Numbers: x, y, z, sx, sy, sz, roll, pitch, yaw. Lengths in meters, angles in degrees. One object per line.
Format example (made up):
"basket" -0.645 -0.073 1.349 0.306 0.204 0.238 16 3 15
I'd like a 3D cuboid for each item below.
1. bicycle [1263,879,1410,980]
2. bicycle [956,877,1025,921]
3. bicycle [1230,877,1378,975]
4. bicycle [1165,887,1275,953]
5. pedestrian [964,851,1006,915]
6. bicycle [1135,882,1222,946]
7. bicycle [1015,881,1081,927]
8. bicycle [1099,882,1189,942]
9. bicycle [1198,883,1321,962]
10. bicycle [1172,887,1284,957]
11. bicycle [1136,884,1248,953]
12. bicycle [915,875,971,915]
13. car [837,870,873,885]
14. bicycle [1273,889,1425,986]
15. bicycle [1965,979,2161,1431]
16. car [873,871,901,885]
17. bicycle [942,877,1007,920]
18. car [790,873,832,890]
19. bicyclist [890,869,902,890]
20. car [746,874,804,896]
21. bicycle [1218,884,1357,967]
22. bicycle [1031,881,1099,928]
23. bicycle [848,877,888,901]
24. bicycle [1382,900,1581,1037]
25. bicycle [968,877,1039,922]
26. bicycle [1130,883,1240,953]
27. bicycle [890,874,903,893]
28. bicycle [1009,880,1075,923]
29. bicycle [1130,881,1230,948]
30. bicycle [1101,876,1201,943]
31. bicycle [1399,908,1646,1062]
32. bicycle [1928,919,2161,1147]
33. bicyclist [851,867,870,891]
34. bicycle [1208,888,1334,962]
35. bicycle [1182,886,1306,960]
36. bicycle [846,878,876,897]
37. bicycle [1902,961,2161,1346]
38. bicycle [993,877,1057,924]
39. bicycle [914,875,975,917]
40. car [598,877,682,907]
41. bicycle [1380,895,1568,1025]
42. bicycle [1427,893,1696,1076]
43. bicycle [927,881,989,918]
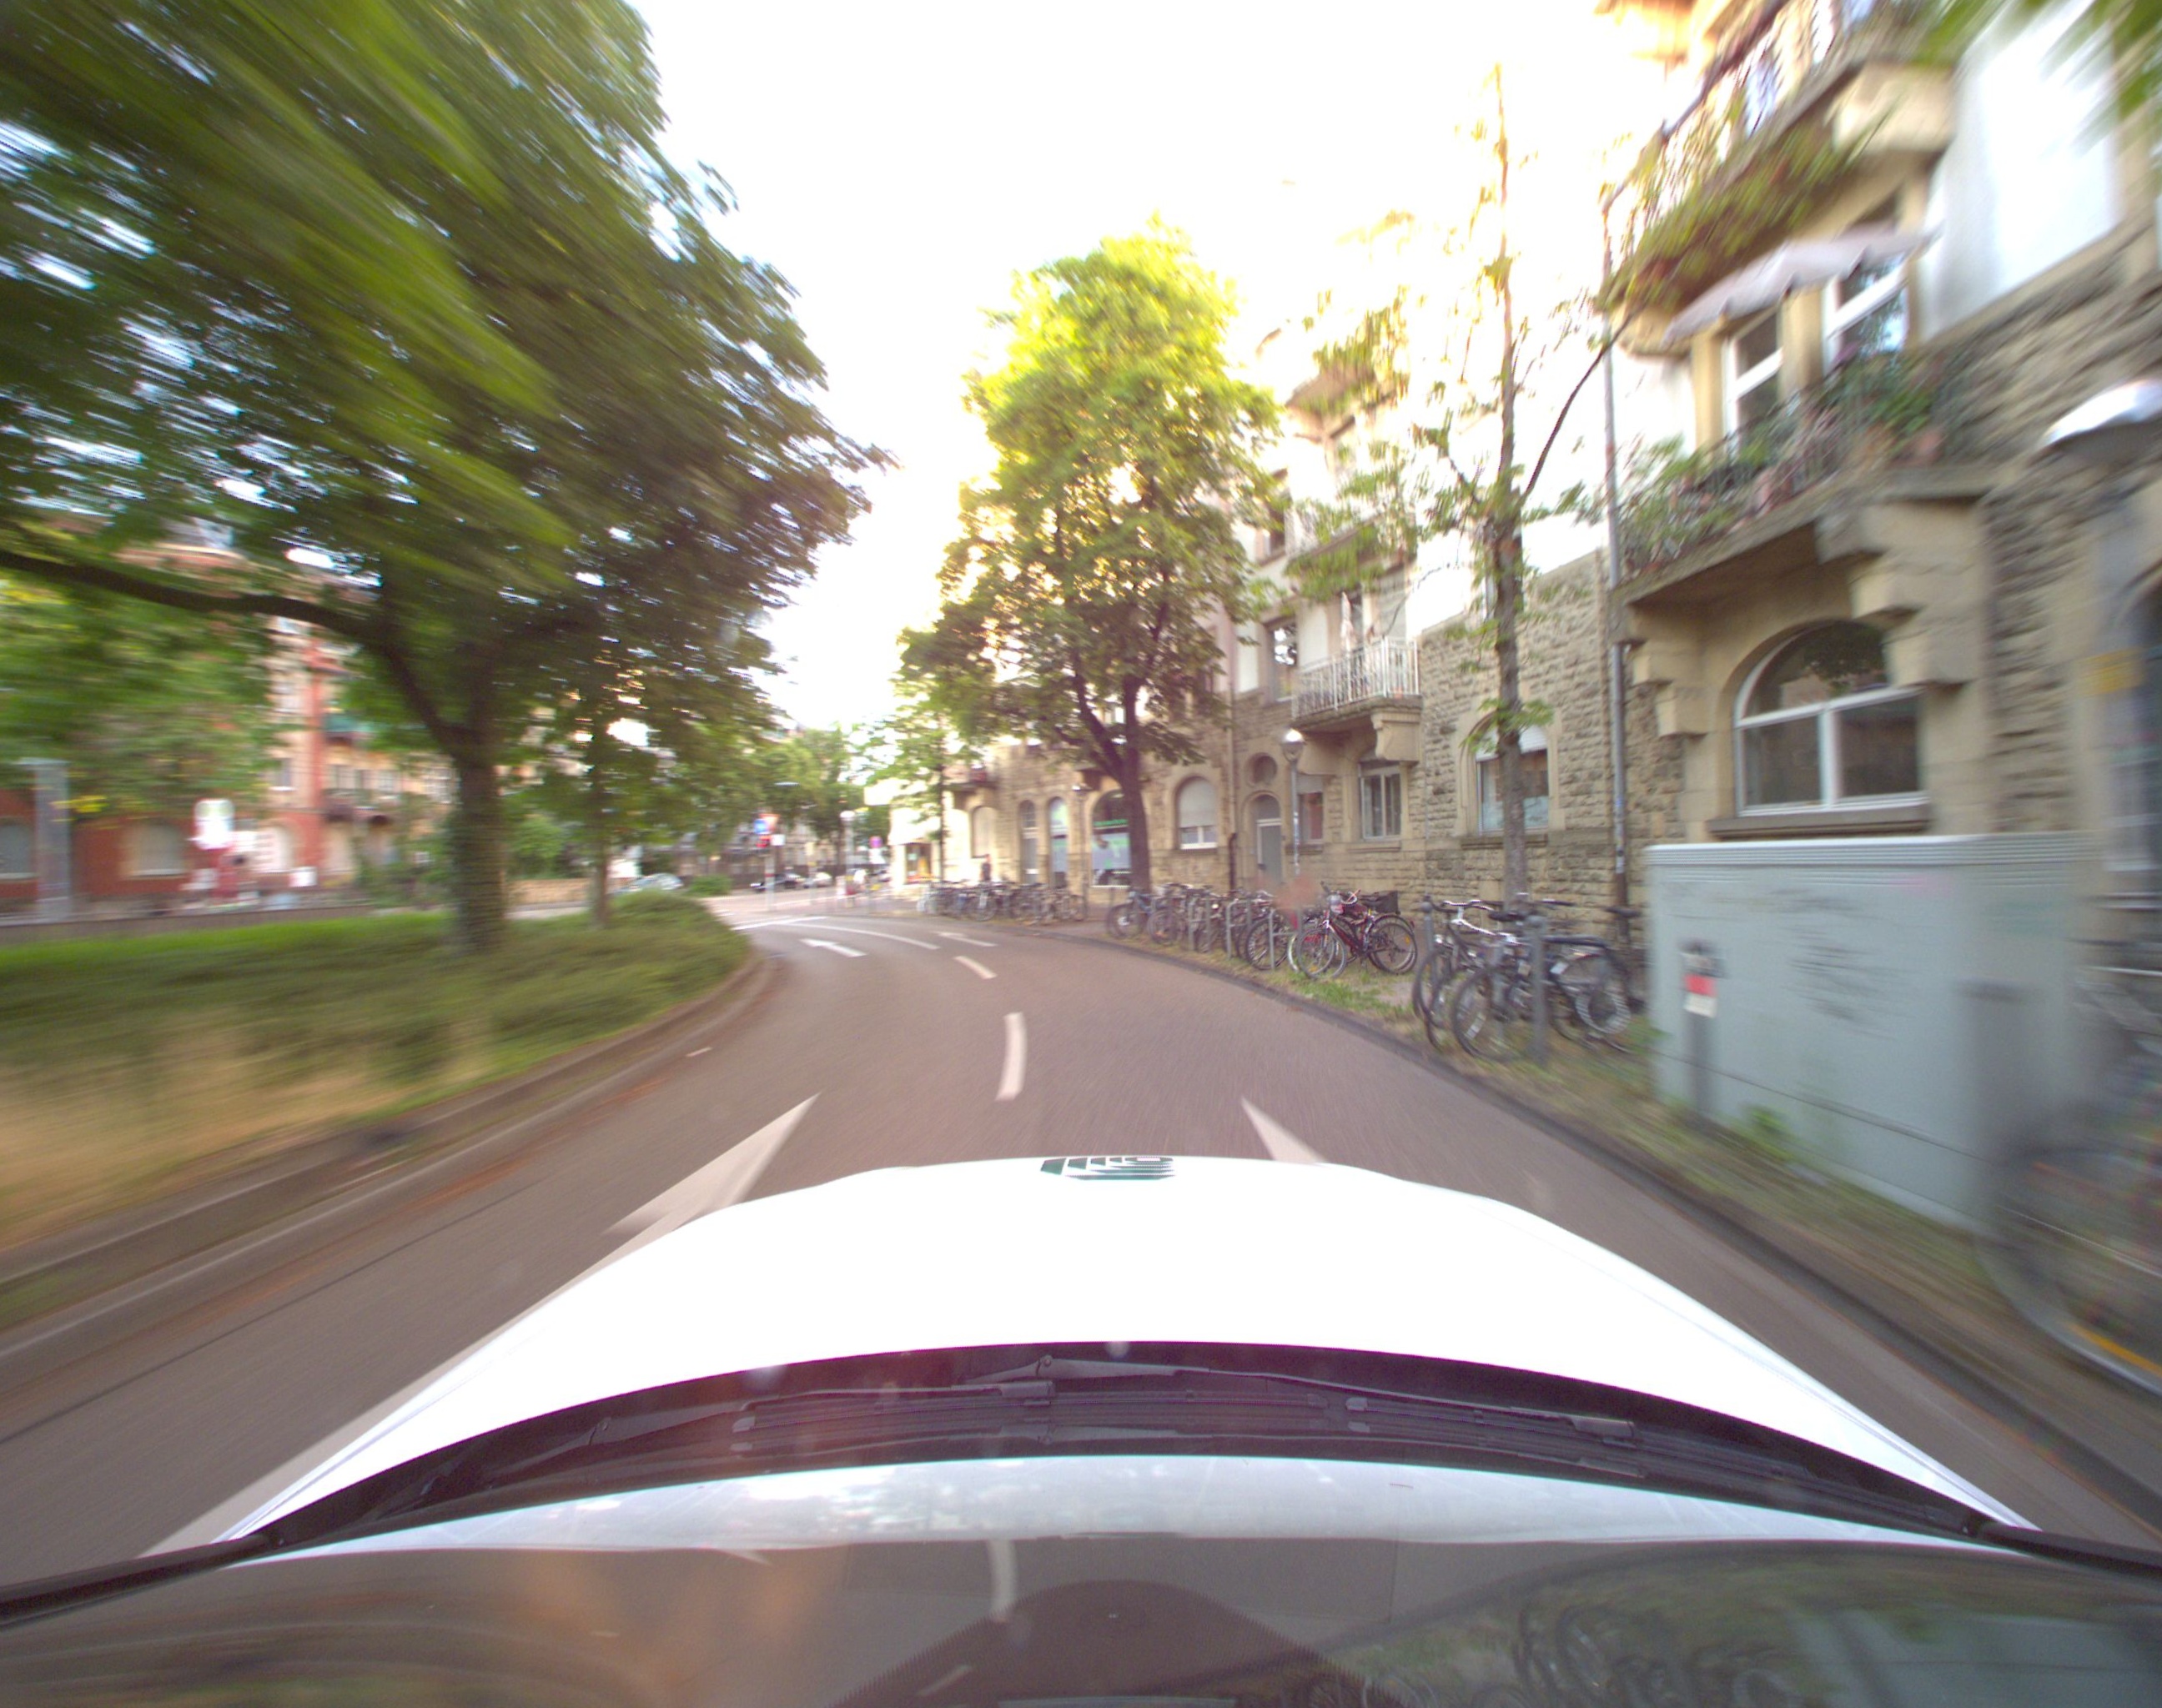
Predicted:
"bicycle" 3.277 0.945 10.430 1.793 1.168 0.445 -2 -1 -14
"bicycle" -2.632 1.289 23.800 1.899 1.162 0.634 -1 -1 -34
"bicycle" 3.042 0.954 11.123 1.918 1.200 0.549 -2 -1 -16
"bicycle" 2.385 1.113 13.958 1.854 0.999 0.416 -2 -1 -17
"pedestrian" -3.290 0.977 27.868 1.017 2.085 1.050 -2 0 -31
"bicycle" 1.941 1.149 16.036 1.865 1.104 0.567 -1 -1 -40
"bicycle" -0.831 1.256 20.849 1.682 1.078 0.481 -1 -1 -35
"bicycle" 1.307 1.171 16.782 1.891 1.139 0.487 0 2 -31
"bicycle" 2.781 1.045 12.709 1.851 1.116 0.417 -2 -1 -13
"bicycle" 2.473 1.116 13.682 1.854 1.051 0.416 -2 -1 -17
"bicycle" 2.009 1.162 14.803 1.854 1.091 0.416 -2 -20 -17
"bicycle" -4.614 1.360 27.297 0.643 1.236 1.804 -3 -1 44
"car" -23.869 2.487 86.215 1.932 1.482 4.180 -2 -1 10
"bicycle" 3.295 0.997 10.018 1.793 1.063 0.445 -2 -1 -14
"bicycle" 3.441 0.876 2.141 1.594 1.039 0.433 -2 -1 6
"car" -22.726 2.783 95.442 1.935 1.482 4.325 -2 -1 4
"bicycle" -3.158 1.313 24.324 1.902 1.162 0.632 -1 -1 -44
"car" -25.119 2.553 75.952 1.993 1.427 4.640 -2 -1 6
"bicyclist" -13.051 1.784 57.520 0.697 1.462 0.781 -1 -1 -8
"car" -23.179 2.312 61.845 1.932 1.510 4.645 -2 -1 10
"bicycle" 3.003 1.013 11.866 1.918 1.065 0.549 -2 -1 -16
"bicycle" -0.393 1.242 20.533 1.682 1.078 0.481 -1 -1 -35
"bicycle" -10.927 1.778 41.767 1.883 1.130 0.724 -1 -1 -29
"bicycle" 3.512 0.975 7.154 1.602 1.063 0.417 -2 -1 -10
"bicycle" -2.198 1.269 23.184 1.899 1.162 0.697 -1 -1 -34
"bicycle" 1.921 1.165 15.064 1.854 1.130 0.416 -2 -20 -17
"bicycle" -13.049 2.085 57.535 0.697 1.236 1.858 -1 -1 -8
"bicycle" -1.043 1.262 21.925 1.679 1.078 0.482 -1 -1 -28
"bicycle" 1.885 1.128 15.473 1.854 1.144 0.416 -2 -1 -17
"bicycle" 1.409 1.113 16.360 1.883 1.217 0.489 -2 -7 -17
"bicycle" 3.347 0.965 6.230 1.600 1.020 0.554 -2 -1 -6
"bicycle" 5.189 0.861 3.906 0.429 0.969 1.727 -2 -1 1
"bicyclist" -13.589 1.540 50.213 0.691 1.411 0.870 -2 -1 27
"bicycle" 2.890 1.059 12.402 1.851 1.014 0.417 -2 -1 -13
"bicycle" 2.655 1.098 13.233 1.919 1.061 0.532 -2 -1 -16
"bicycle" -13.554 2.072 50.237 0.691 1.055 1.804 -2 -1 28
"bicycle" 3.756 0.870 2.482 1.883 1.039 0.433 -2 -1 6
"bicycle" -1.503 1.245 22.016 1.679 1.127 0.482 -1 5 -26
"bicycle" -4.372 1.321 26.150 1.803 1.236 0.691 -1 -1 -44
"car" -25.648 2.199 47.561 1.932 1.510 4.432 -2 -1 10
"bicycle" 3.638 0.952 7.559 1.602 1.076 0.417 -2 -1 -10
"bicycle" 3.384 0.887 5.792 1.600 1.148 0.554 -2 -1 -6
"bicycle" -3.842 1.395 25.472 1.817 1.038 0.691 -1 -1 -44
